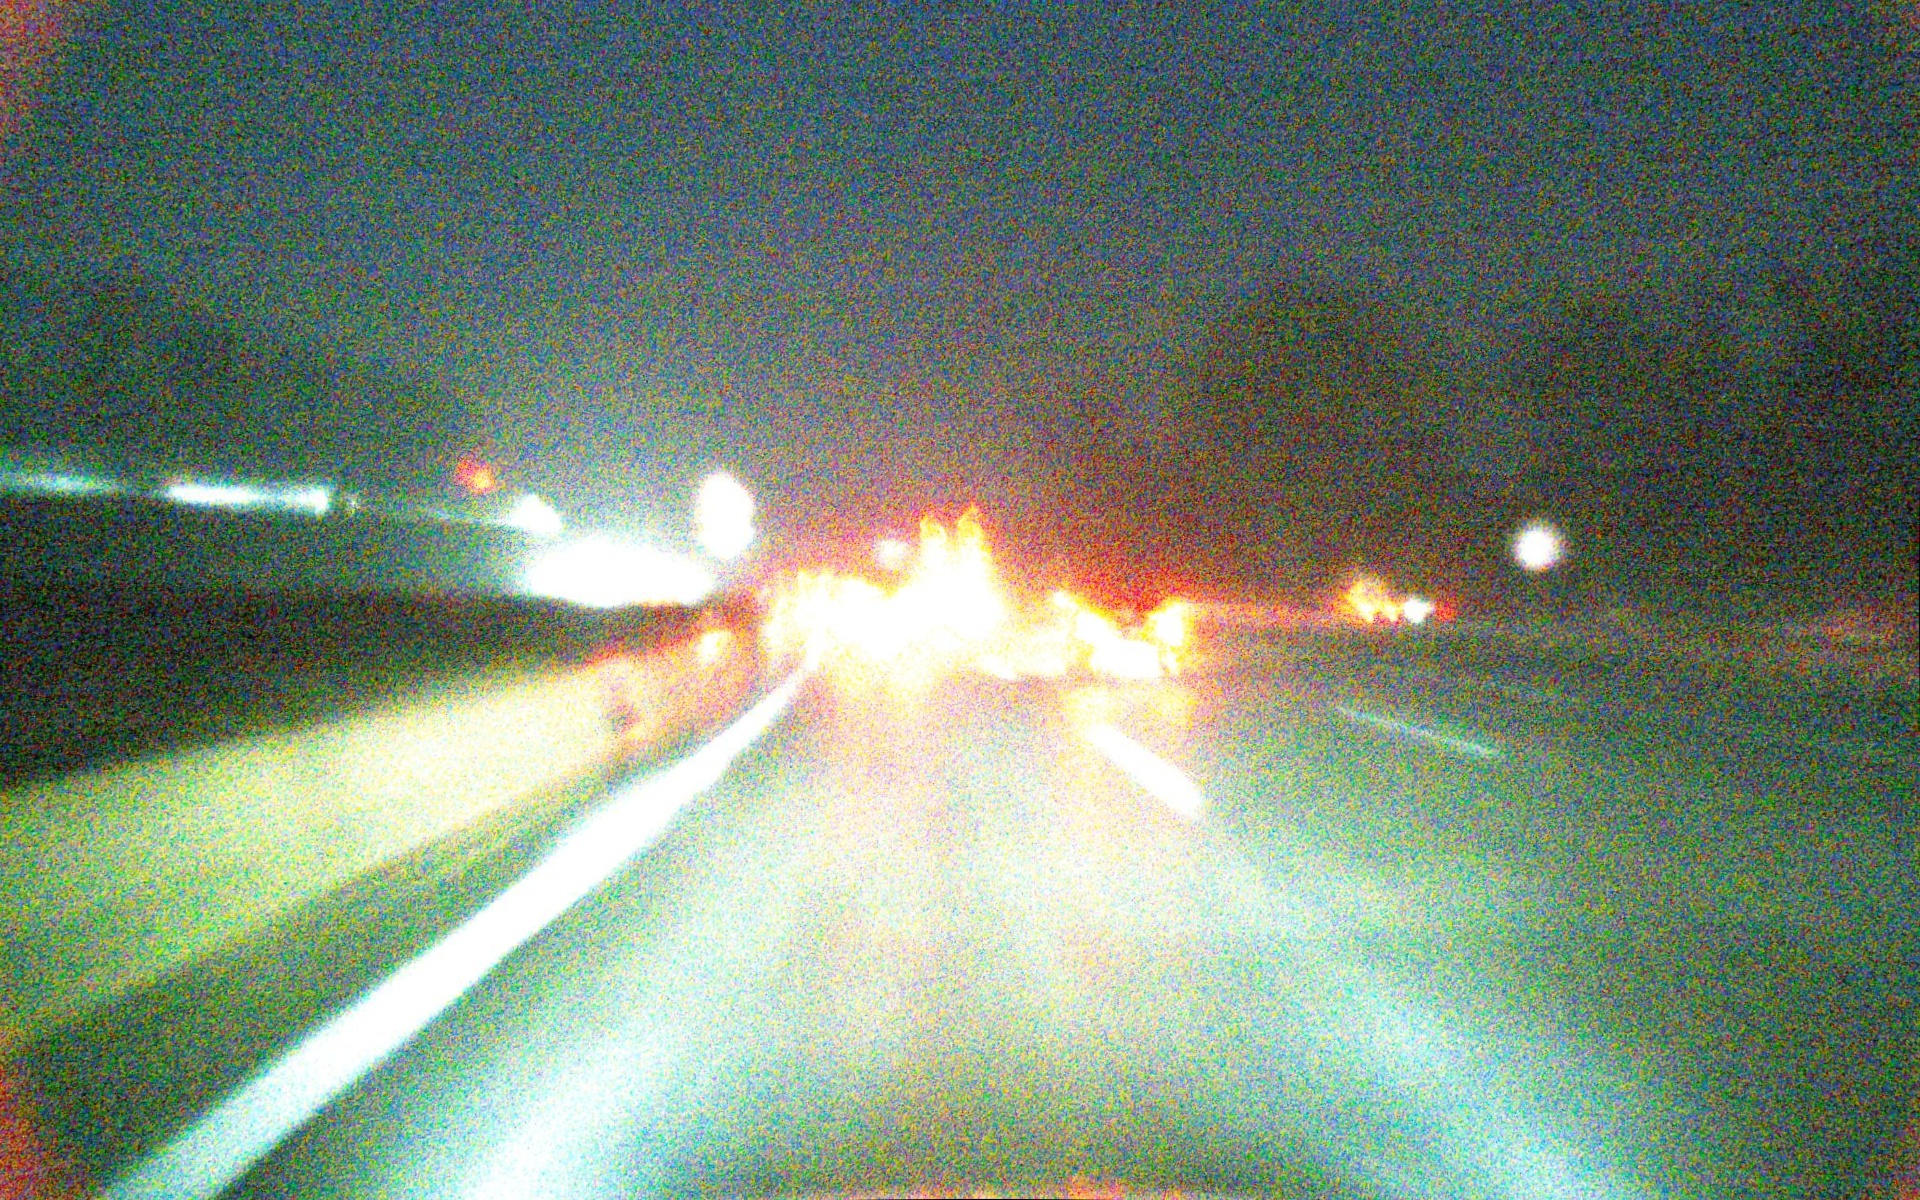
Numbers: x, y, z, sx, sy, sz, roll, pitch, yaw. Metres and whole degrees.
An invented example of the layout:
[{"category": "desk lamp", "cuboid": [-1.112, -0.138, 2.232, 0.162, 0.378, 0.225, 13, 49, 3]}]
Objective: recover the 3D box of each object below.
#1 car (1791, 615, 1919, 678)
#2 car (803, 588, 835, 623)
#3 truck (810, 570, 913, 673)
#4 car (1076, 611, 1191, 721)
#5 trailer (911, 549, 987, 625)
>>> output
[{"category": "car", "cuboid": [26.585, 1.341, 49.116, 1.952, 1.628, 4.002, 3, 1, 4]}, {"category": "car", "cuboid": [-9.205, 0.341, 107.513, 1.955, 2.048, 3.996, -3, 2, -6]}, {"category": "truck", "cuboid": [-2.378, 0.406, 38.827, 2.103, 2.113, 6.597, 3, 1, -5]}, {"category": "car", "cuboid": [2.872, 1.059, 28.109, 1.763, 1.645, 4.259, -1, 0, 4]}, {"category": "trailer", "cuboid": [-0.856, -0.957, 104.255, 2.689, 4.321, 13.346, -3, 2, -9]}]
